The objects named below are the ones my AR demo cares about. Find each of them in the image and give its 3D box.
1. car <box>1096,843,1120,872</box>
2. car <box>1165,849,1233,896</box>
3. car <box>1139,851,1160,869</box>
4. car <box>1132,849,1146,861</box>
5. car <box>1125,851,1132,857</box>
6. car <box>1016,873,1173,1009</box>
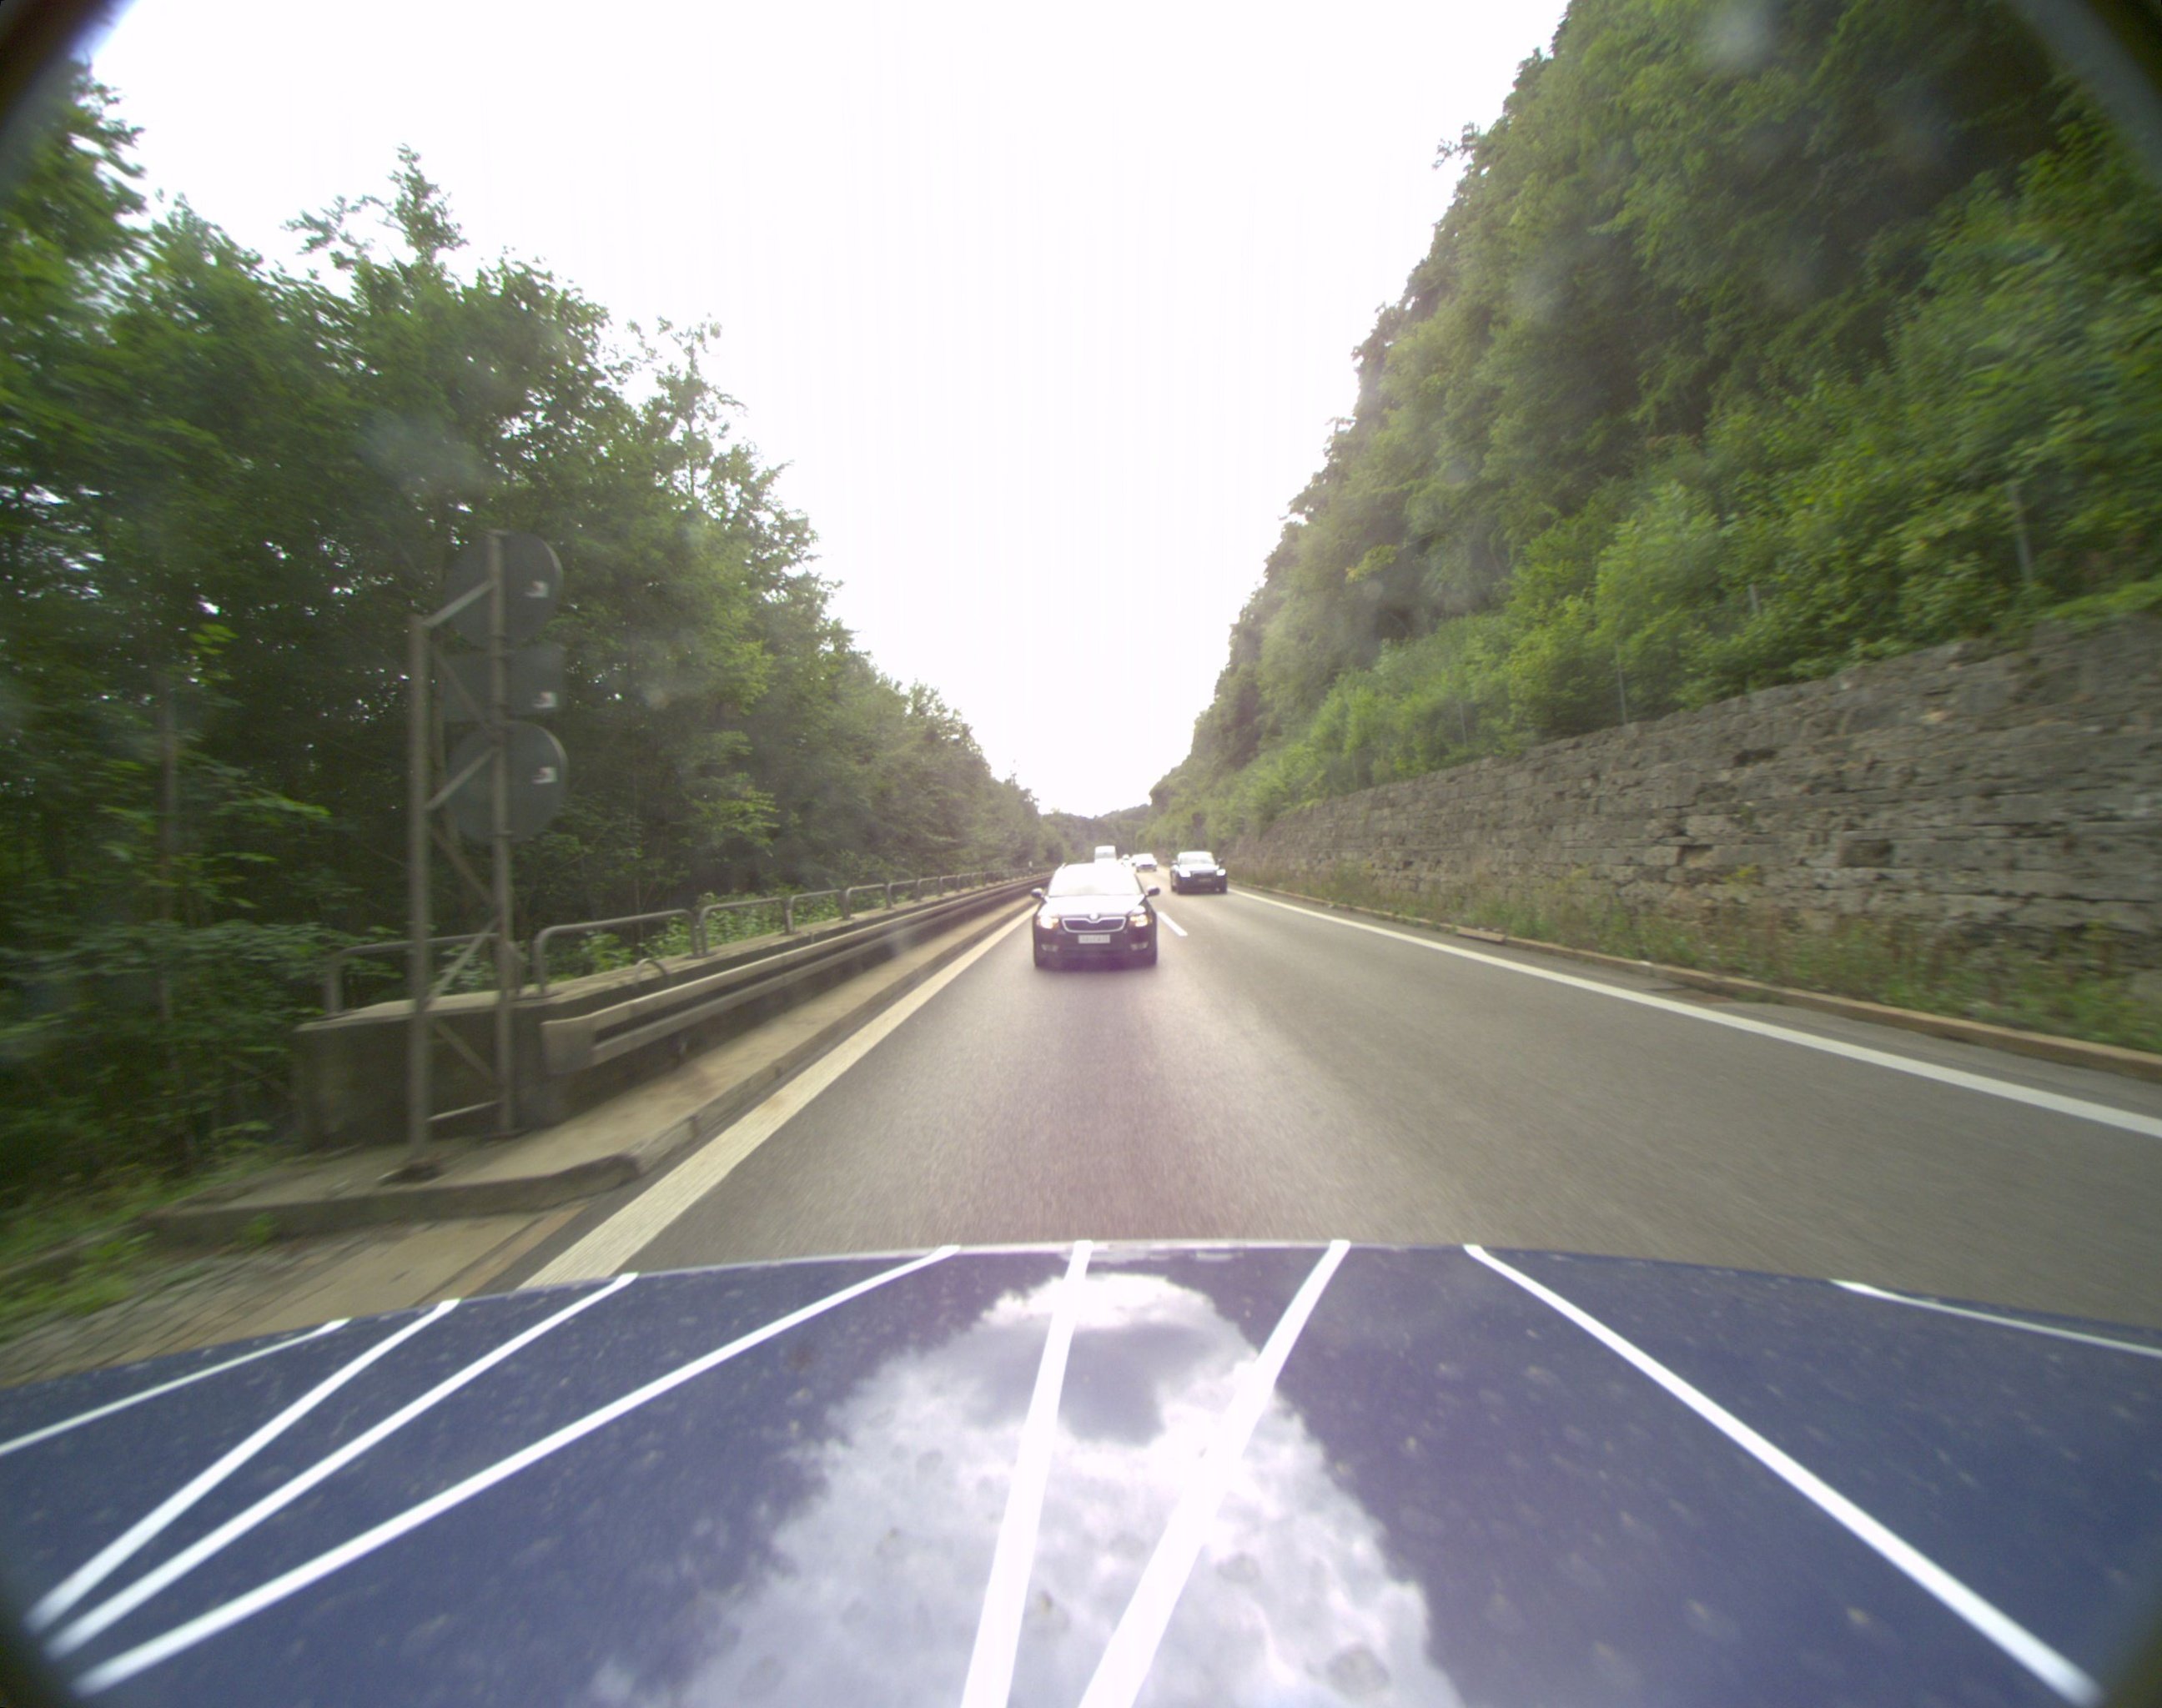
[{"bbox_3d":[2.530,0.340,69.677,2.098,2.547,5.921,-1,-1,3],"label":"car"},{"bbox_3d":[4.709,0.661,31.136,1.976,1.584,5.585,-3,1,2],"label":"car"},{"bbox_3d":[6.319,0.578,70.774,1.823,1.546,4.002,-1,-1,4],"label":"car"},{"bbox_3d":[8.102,0.177,105.810,1.823,1.546,4.001,-1,-1,3],"label":"car"},{"bbox_3d":[14.836,-0.014,236.587,1.822,1.546,4.002,-1,-1,5],"label":"car"},{"bbox_3d":[0.198,1.005,10.538,1.638,1.384,4.500,-3,-1,1],"label":"car"}]
